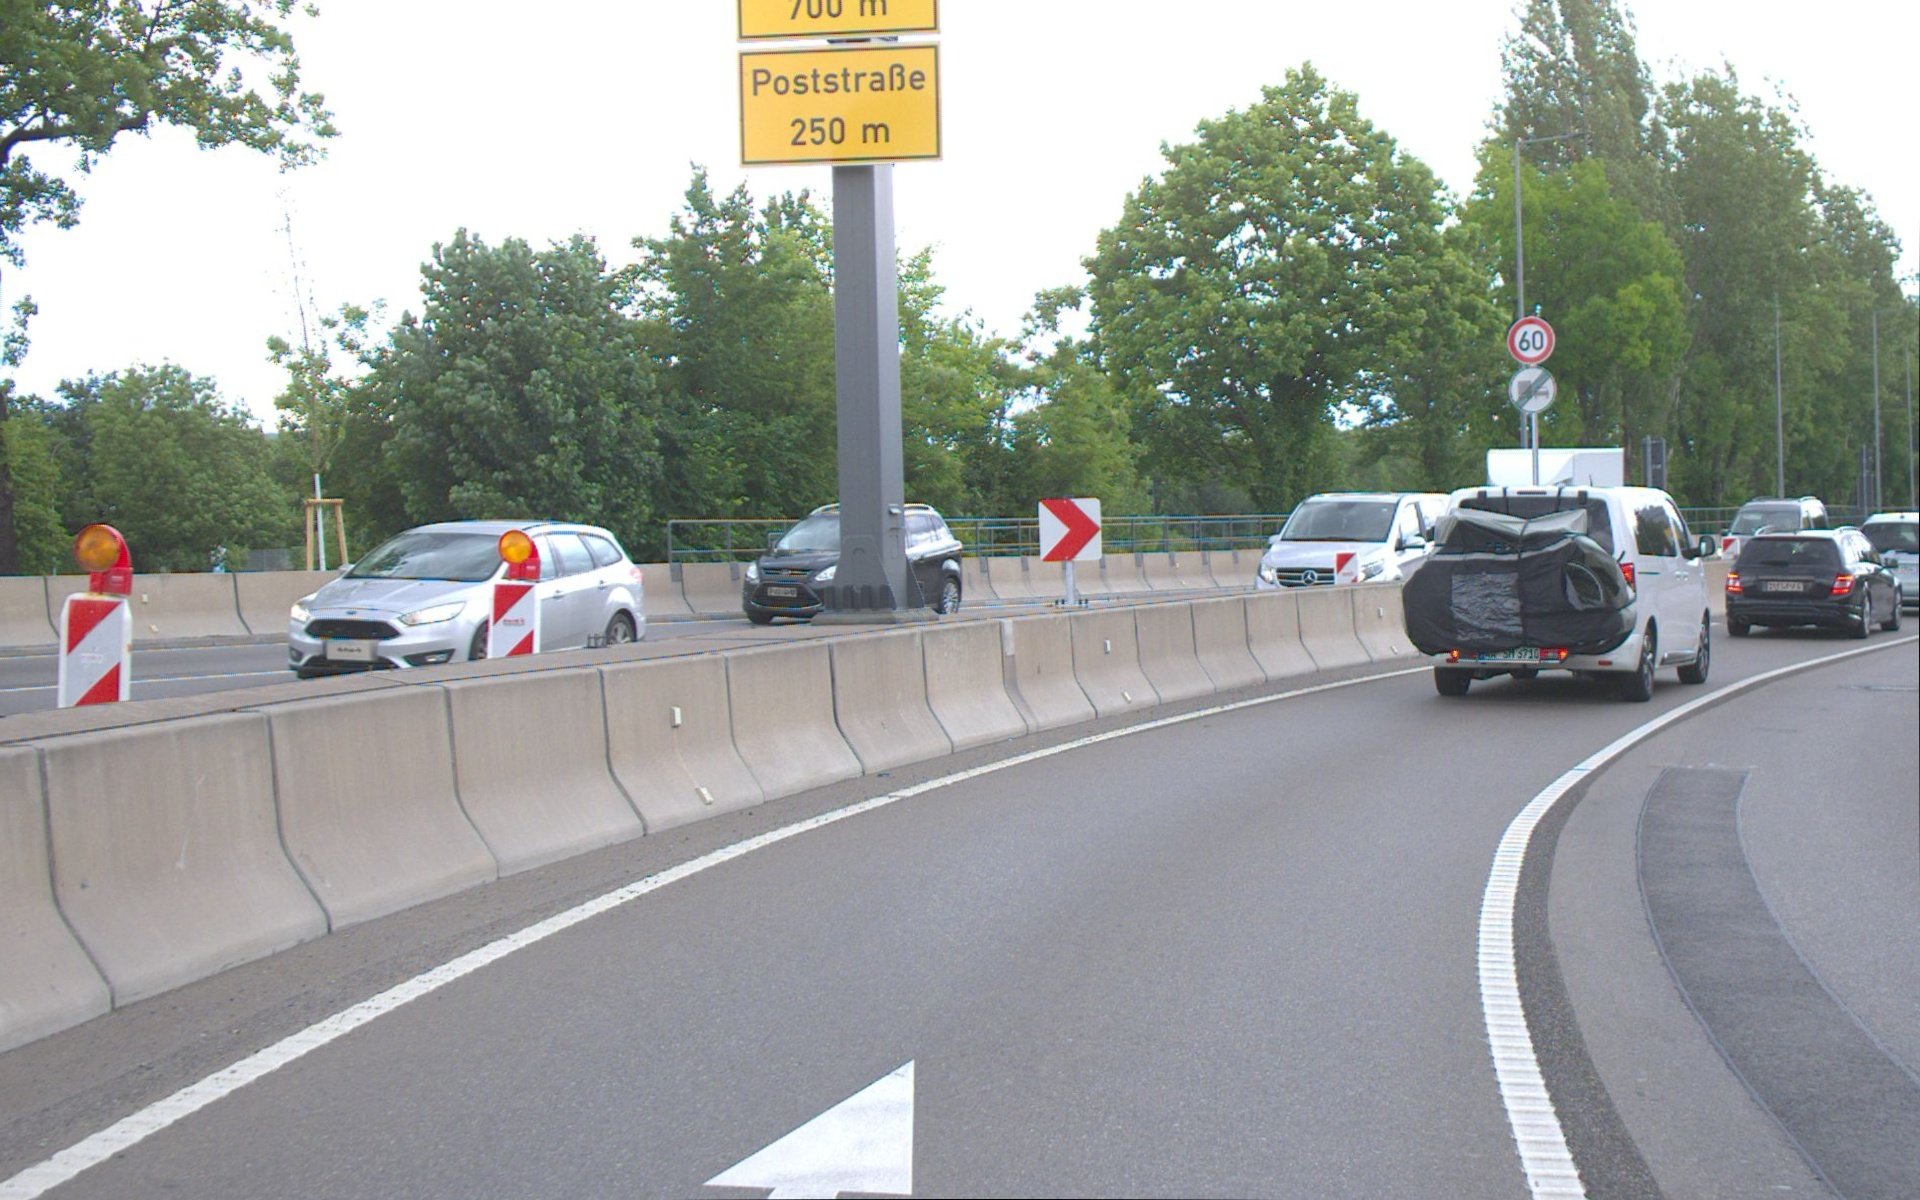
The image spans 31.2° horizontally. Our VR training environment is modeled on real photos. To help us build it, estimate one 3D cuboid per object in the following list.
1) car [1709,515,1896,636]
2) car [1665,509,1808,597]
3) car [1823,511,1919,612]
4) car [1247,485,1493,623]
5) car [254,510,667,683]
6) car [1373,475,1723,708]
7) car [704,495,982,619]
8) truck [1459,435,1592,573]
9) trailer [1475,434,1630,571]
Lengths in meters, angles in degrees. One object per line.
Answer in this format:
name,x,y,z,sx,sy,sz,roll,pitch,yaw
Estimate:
car,11.041,-0.342,44.862,1.817,1.429,4.061,-1,1,21
car,16.832,-1.017,74.372,1.904,1.799,4.948,1,1,26
car,14.727,-0.625,53.269,1.923,1.483,4.060,0,2,24
car,5.848,-0.669,48.383,1.953,1.800,5.786,1,1,22
car,-4.393,-0.085,31.018,1.795,1.416,4.645,1,1,18
car,5.397,-0.133,30.891,1.995,1.852,5.635,2,2,21
car,-1.601,-0.633,48.902,1.996,1.666,4.722,1,2,25
truck,13.035,-2.219,79.176,2.275,3.103,2.983,1,1,25
trailer,14.133,-2.303,81.681,2.275,3.127,5.704,1,1,24
